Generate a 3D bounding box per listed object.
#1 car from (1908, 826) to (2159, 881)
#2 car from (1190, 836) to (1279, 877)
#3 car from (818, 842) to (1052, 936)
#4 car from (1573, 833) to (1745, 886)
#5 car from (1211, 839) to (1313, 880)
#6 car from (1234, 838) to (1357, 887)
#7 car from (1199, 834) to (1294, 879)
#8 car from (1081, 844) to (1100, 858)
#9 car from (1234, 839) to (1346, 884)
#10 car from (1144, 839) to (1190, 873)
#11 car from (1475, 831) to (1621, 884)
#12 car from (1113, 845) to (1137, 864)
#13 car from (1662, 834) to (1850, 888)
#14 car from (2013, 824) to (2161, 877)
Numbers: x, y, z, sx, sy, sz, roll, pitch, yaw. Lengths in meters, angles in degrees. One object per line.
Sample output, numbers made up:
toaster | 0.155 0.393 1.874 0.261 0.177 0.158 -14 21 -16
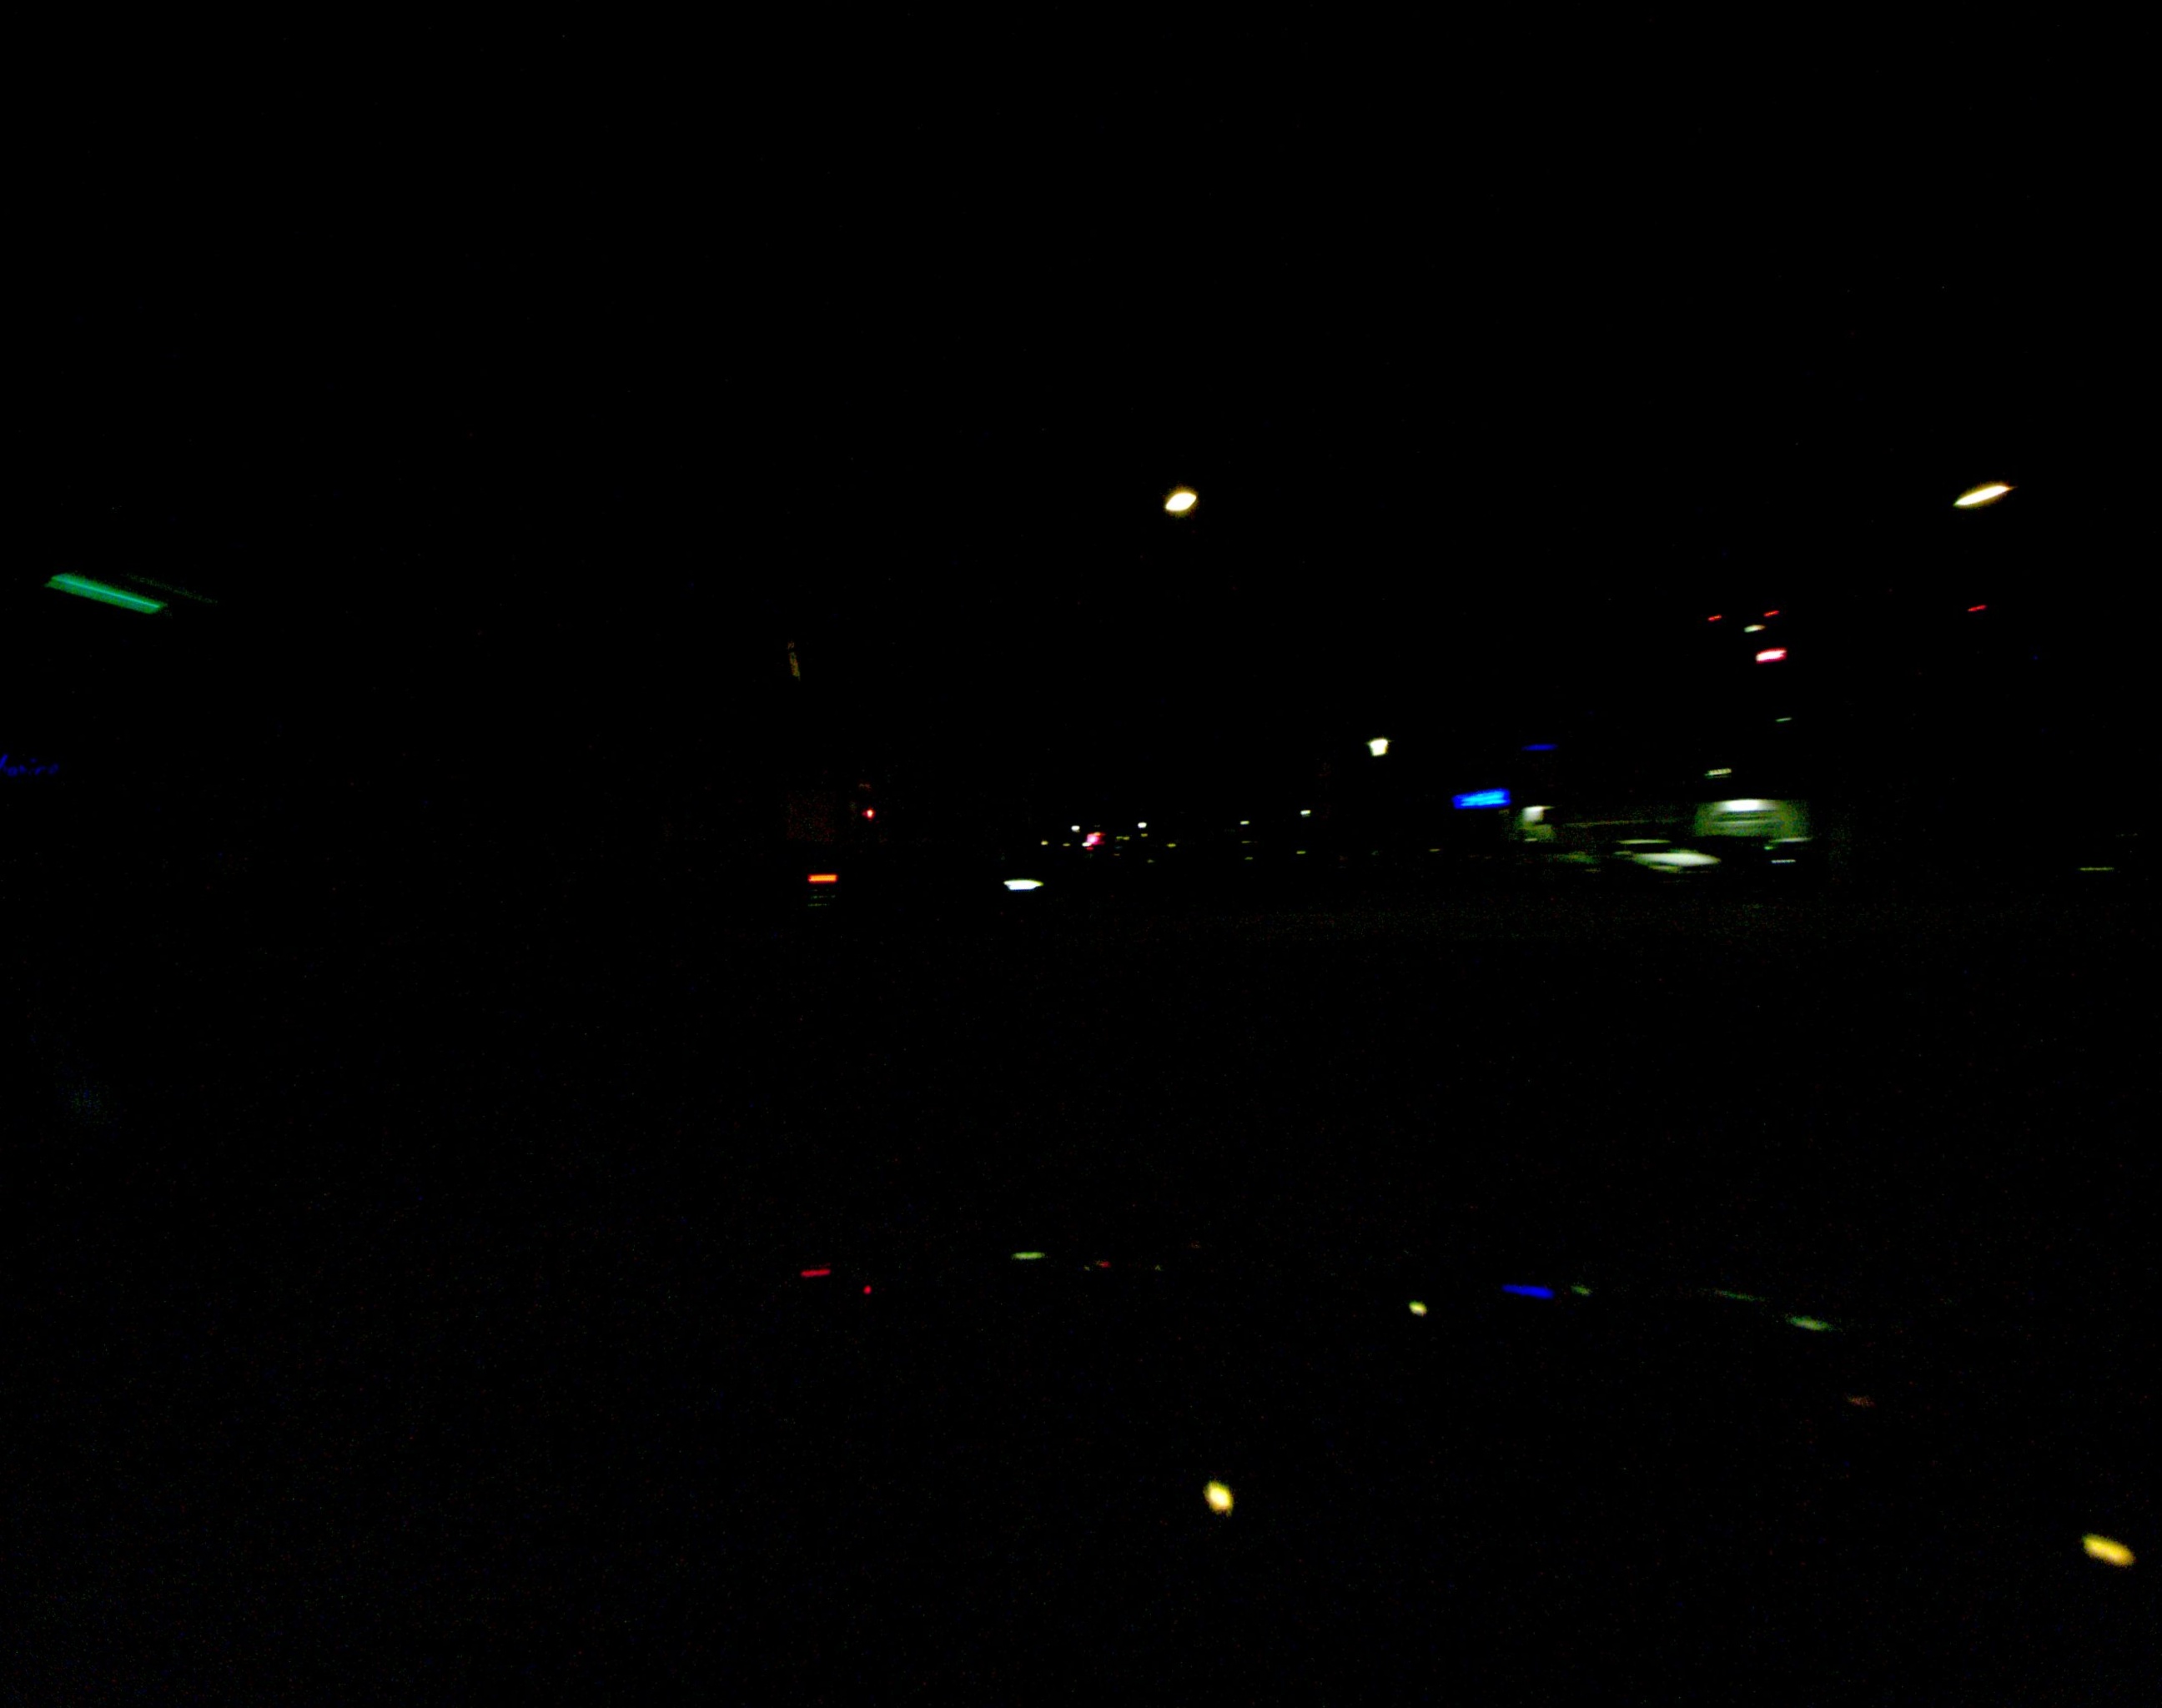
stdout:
car | 27.777 -0.076 22.469 1.998 1.441 4.454 -1 1 5
car | 7.585 0.113 37.868 3.997 1.875 1.999 -2 2 0
car | -2.670 0.630 14.636 3.996 1.607 2.000 -1 1 4
car | 17.172 0.099 22.930 1.998 1.441 4.453 -1 1 4
car | 7.855 0.218 33.236 3.997 1.613 1.999 -2 2 0
car | 7.901 0.293 28.279 3.997 1.613 1.999 -2 2 0
car | 7.710 0.090 35.606 3.997 1.935 1.999 -2 2 0
car | 1.190 -0.415 94.680 1.999 1.625 3.997 -1 1 -5
car | 8.372 0.288 30.718 3.997 1.613 1.999 -2 2 0
car | 4.768 0.070 42.494 1.999 1.771 3.998 -1 1 -2
car | 14.042 0.038 23.190 1.998 1.441 4.454 -1 1 5
car | 3.928 0.011 67.580 1.998 1.625 4.000 -1 1 4
car | 20.196 0.138 23.057 1.998 1.441 4.454 -1 1 5
car | 30.492 -0.137 21.877 1.998 1.441 4.454 -1 1 5
